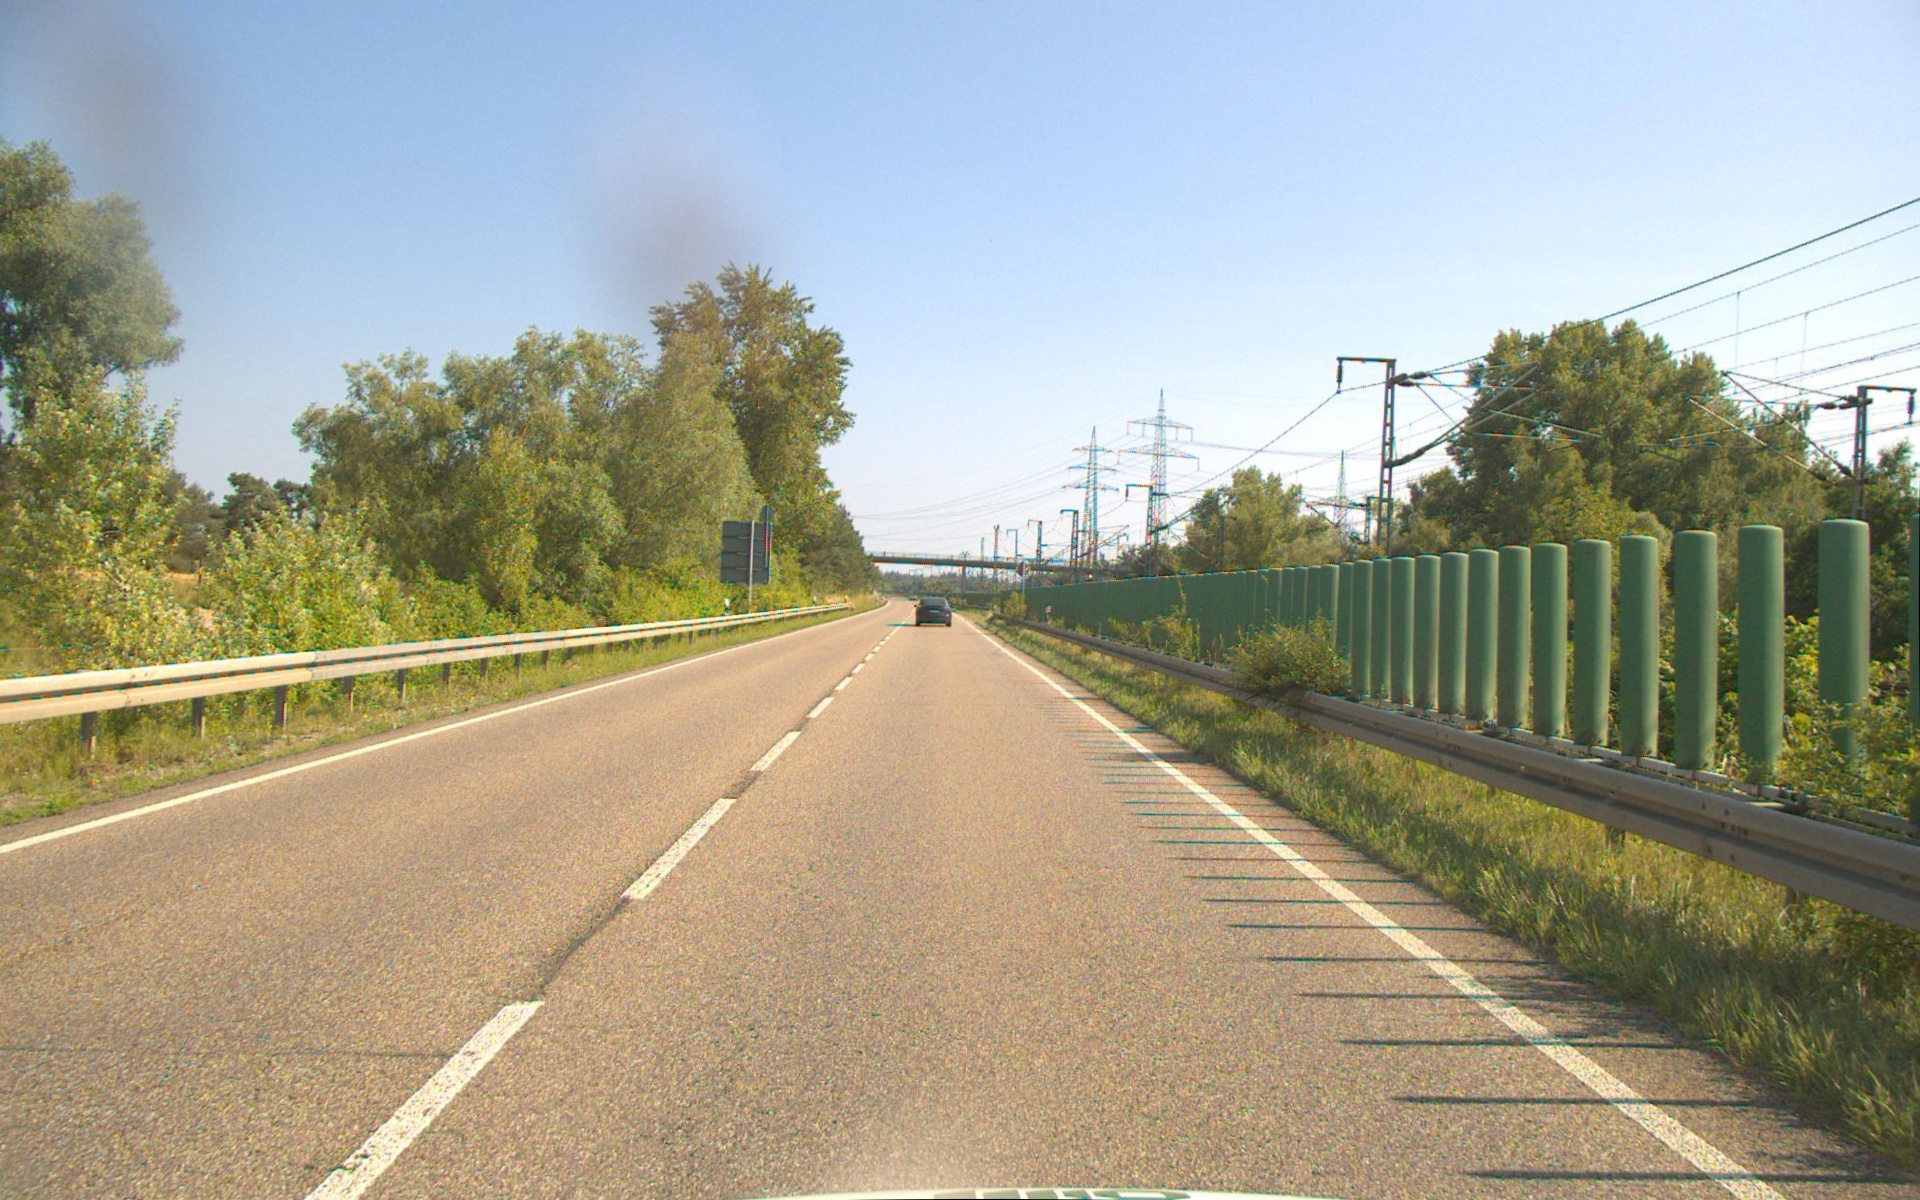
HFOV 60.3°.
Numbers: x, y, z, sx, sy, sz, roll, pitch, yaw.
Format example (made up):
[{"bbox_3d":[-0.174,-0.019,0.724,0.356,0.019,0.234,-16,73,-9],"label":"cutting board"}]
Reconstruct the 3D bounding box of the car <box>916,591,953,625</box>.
[{"bbox_3d":[-1.298,0.380,83.655,1.821,1.670,3.999,0,0,-2],"label":"car"}]
